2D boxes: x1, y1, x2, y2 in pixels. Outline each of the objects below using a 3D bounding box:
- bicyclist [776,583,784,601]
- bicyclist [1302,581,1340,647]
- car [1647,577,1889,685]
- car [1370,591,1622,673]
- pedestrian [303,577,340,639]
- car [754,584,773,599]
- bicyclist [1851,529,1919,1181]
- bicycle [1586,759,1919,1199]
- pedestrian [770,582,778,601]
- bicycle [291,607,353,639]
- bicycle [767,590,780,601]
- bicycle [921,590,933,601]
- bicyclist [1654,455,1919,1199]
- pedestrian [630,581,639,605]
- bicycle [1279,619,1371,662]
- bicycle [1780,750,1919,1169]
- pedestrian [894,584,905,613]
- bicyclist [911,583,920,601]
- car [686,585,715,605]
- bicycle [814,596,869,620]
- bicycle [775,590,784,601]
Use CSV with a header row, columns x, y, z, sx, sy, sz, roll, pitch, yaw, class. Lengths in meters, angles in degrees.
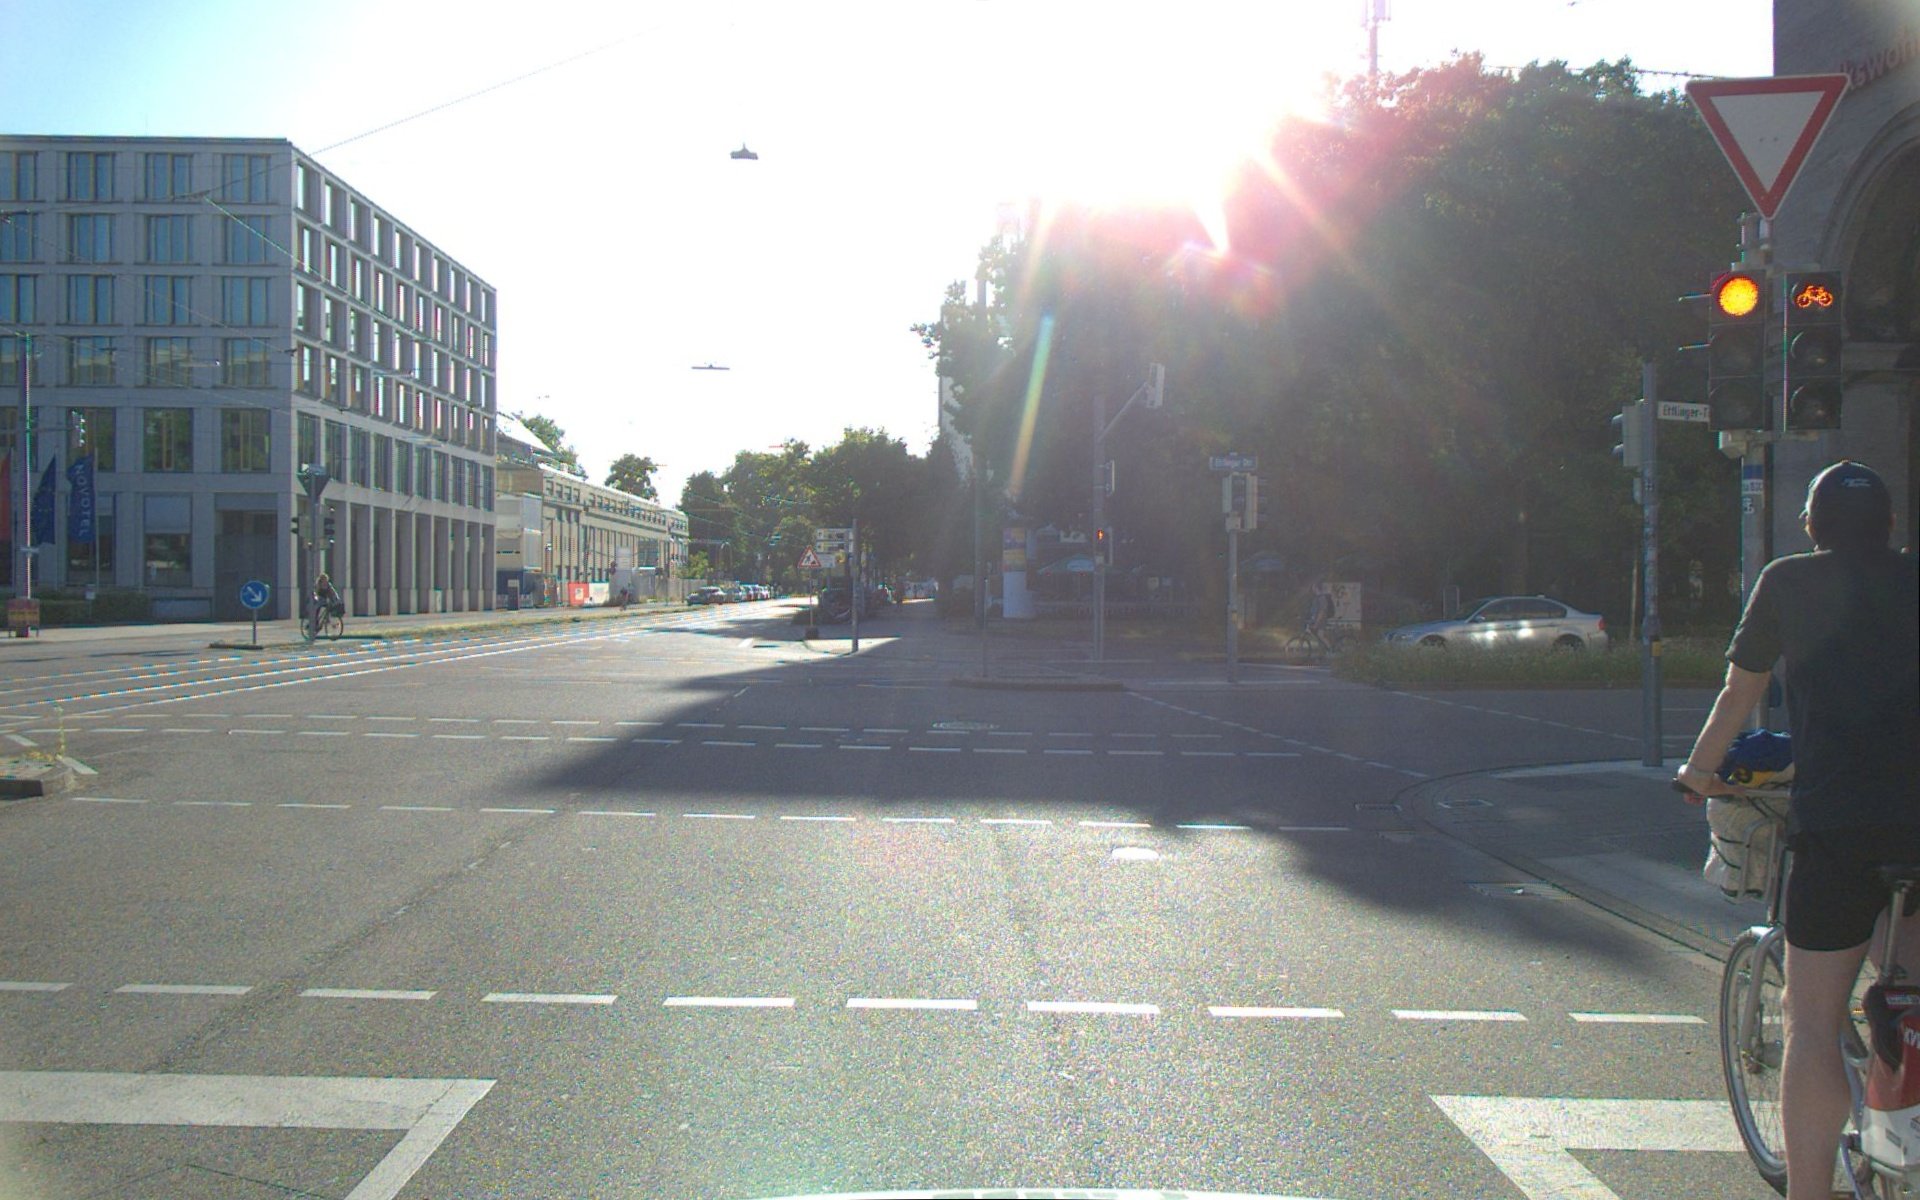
x,y,z,sx,sy,sz,roll,pitch,yaw,class
-20.091,-0.870,184.266,0.735,1.953,1.214,1,0,-2,bicyclist
7.960,0.307,36.485,0.731,1.431,0.702,1,-1,6,bicyclist
16.233,0.613,33.372,3.905,2.049,2.000,1,0,0,car
10.854,0.632,33.718,4.483,1.543,2.000,1,0,-1,car
-16.937,0.210,43.905,0.727,1.623,0.573,0,0,26,pedestrian
-23.057,-0.996,194.348,1.954,1.673,3.997,0,0,-4,car
2.887,0.692,4.346,0.572,1.769,0.950,0,0,0,bicyclist
2.141,0.996,3.906,0.610,1.062,1.746,0,0,-2,bicycle
-20.229,-0.915,179.871,0.735,2.099,1.050,1,-1,5,pedestrian
-16.939,0.607,43.912,1.679,0.837,0.573,0,0,27,bicycle
-20.254,-0.478,179.802,0.735,1.226,3.109,1,0,5,bicycle
-3.903,-0.533,196.765,0.875,1.240,2.785,1,0,-12,bicycle
2.145,0.569,3.894,0.610,1.745,0.912,0,0,-2,bicyclist
-25.970,-0.575,131.882,0.576,1.922,0.478,1,-1,-1,pedestrian
8.038,0.883,36.478,1.902,0.905,0.718,1,0,5,bicycle
2.888,1.013,4.381,0.570,1.062,1.747,0,0,0,bicycle
-3.572,-0.106,97.622,0.566,1.719,0.584,0,0,-8,pedestrian
-5.262,-0.962,196.461,0.875,2.049,0.746,1,-1,-12,bicyclist
-21.802,-0.448,139.074,1.953,1.627,3.999,0,1,-1,car
-4.818,0.334,67.136,2.201,0.956,0.653,0,0,-6,bicycle
-20.106,-0.501,184.383,0.735,1.226,3.107,1,0,-2,bicycle
